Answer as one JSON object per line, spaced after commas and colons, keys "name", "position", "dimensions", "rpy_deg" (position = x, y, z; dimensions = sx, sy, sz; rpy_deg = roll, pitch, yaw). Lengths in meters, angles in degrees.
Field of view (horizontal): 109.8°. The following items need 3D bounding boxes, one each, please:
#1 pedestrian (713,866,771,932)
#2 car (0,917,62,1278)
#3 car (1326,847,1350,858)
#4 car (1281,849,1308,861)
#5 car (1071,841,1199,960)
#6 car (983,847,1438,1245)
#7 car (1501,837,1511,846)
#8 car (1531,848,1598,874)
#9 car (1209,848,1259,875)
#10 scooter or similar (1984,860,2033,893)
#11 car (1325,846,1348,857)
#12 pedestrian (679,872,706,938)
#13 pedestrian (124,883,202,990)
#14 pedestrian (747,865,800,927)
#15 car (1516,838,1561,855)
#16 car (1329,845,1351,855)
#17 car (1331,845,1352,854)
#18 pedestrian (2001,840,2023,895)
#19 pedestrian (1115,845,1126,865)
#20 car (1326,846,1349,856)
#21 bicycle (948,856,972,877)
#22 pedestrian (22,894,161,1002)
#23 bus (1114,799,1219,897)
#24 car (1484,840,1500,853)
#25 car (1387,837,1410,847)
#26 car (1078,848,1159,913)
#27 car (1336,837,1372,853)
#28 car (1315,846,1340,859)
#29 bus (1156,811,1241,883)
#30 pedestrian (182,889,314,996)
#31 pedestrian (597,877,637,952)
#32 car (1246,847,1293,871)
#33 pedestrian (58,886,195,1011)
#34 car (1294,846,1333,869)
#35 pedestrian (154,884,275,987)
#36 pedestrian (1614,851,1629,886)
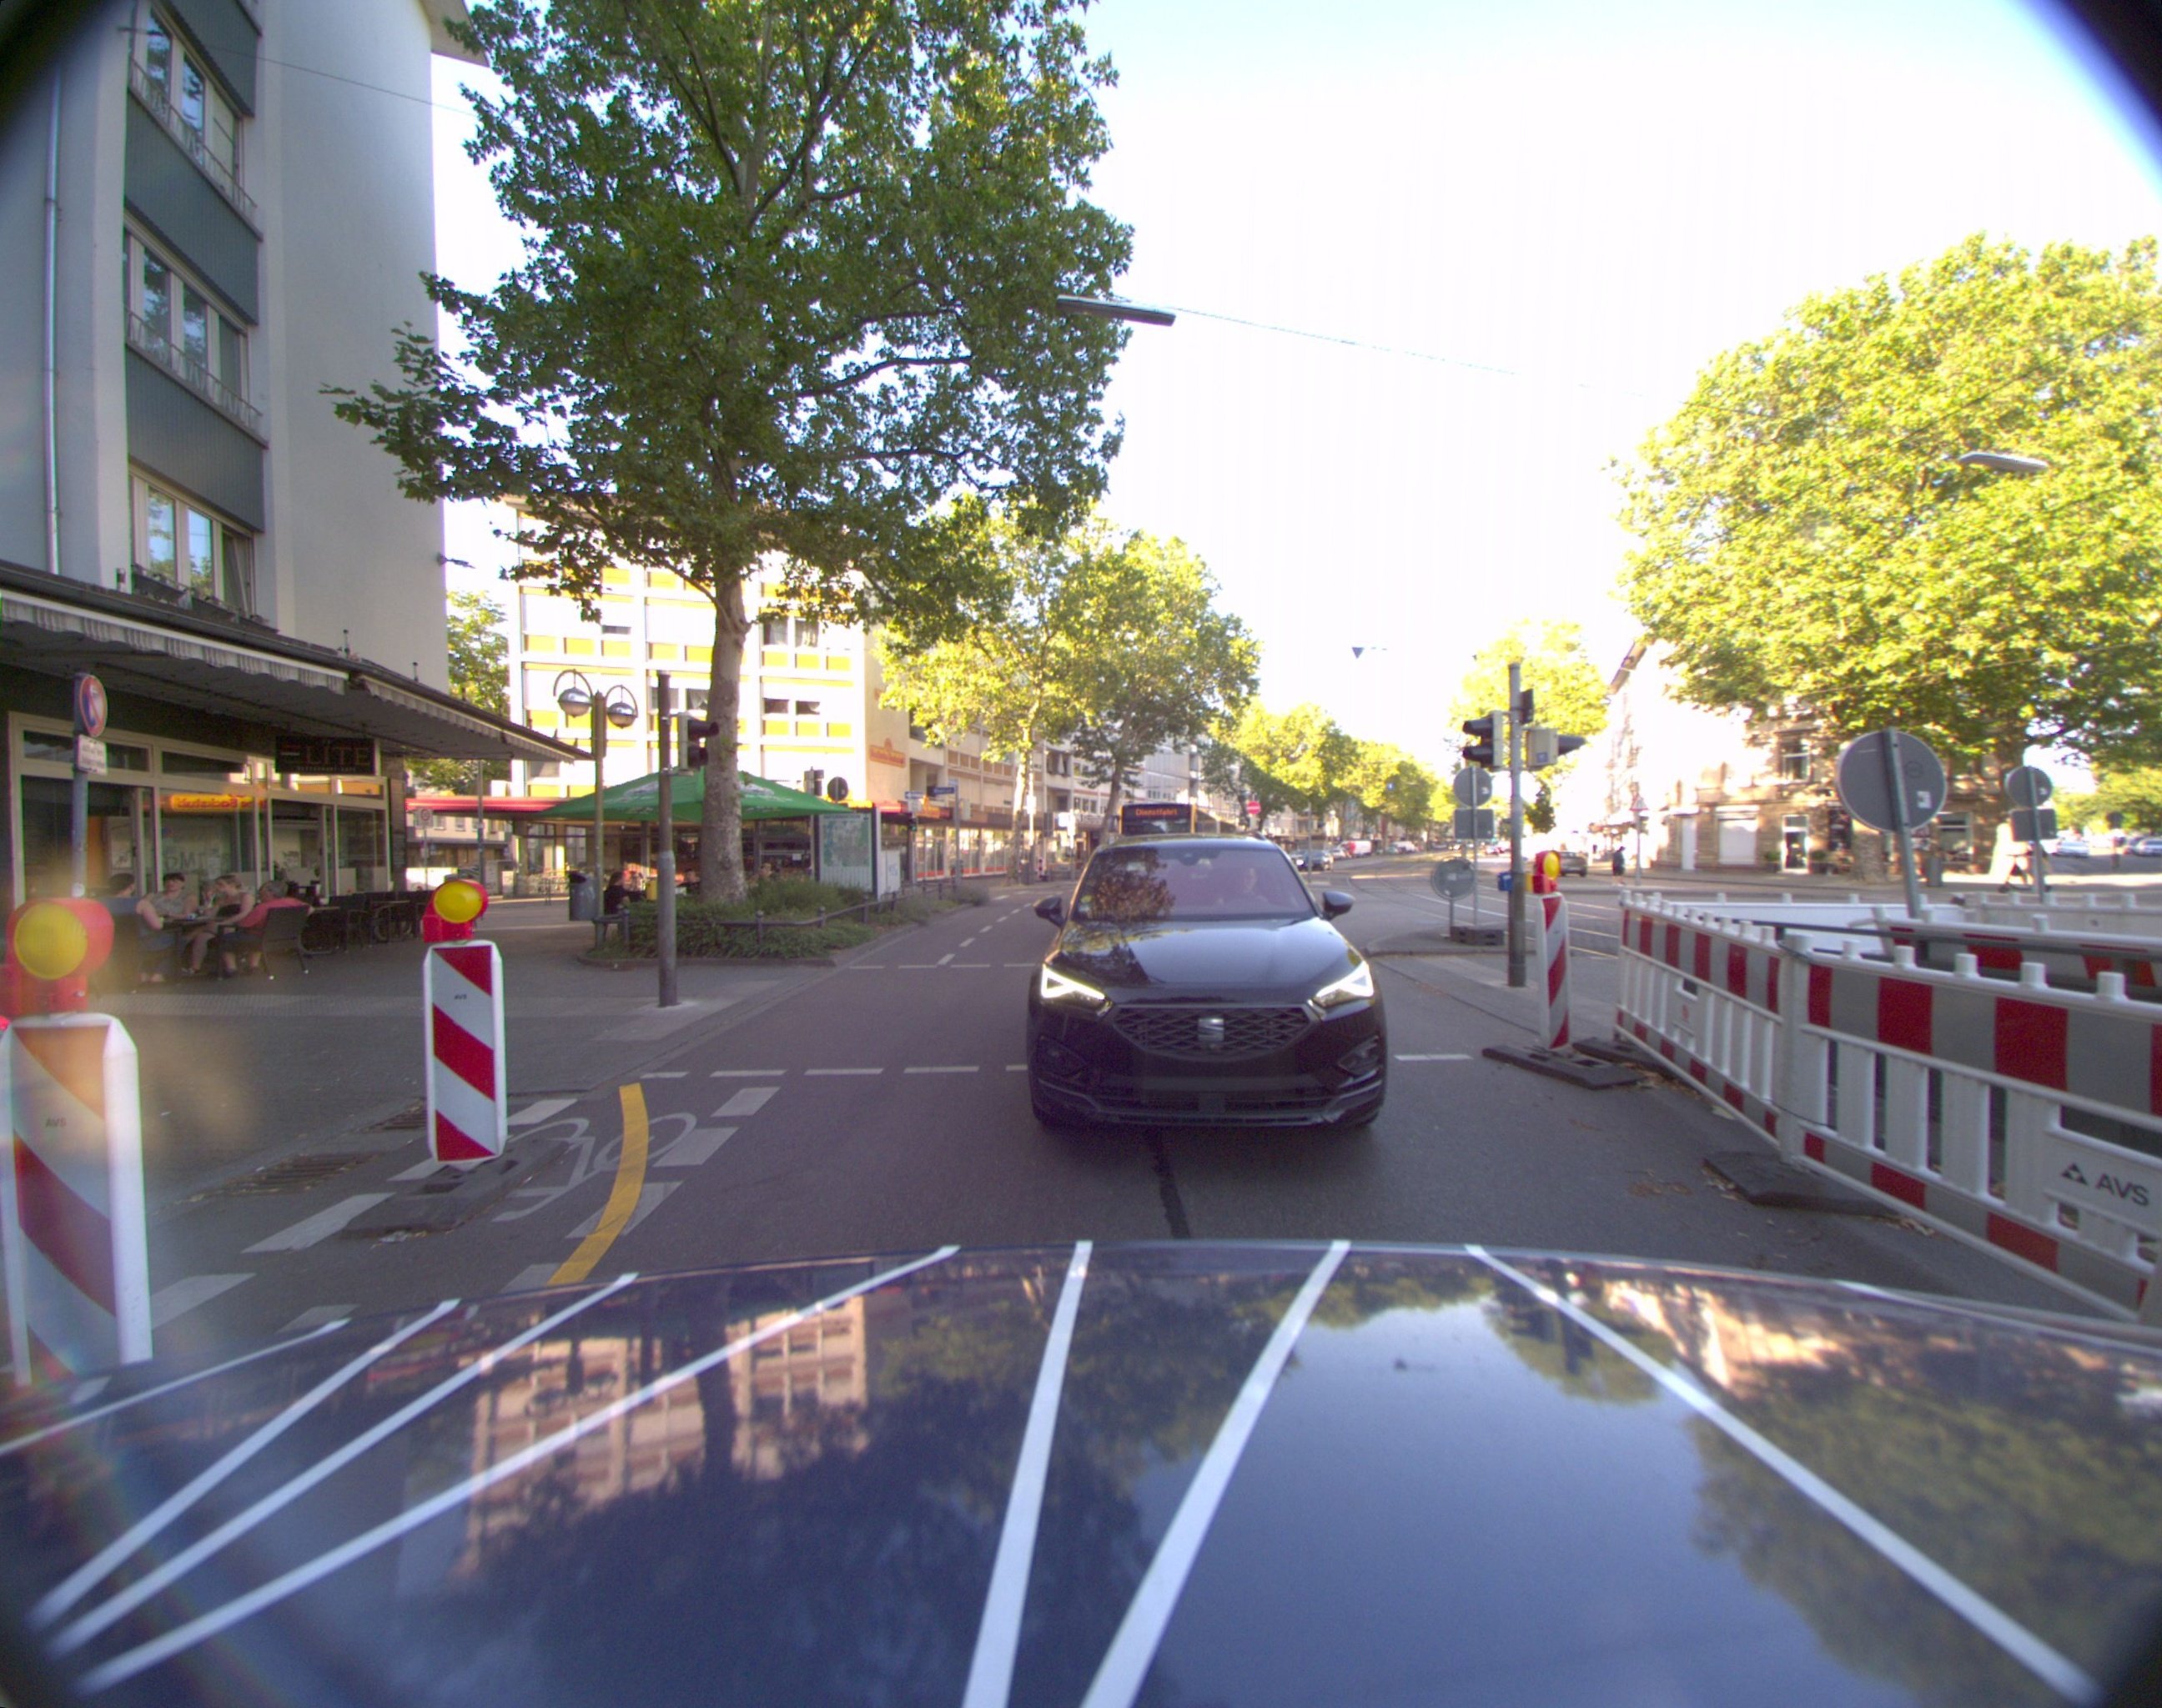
{"name": "pedestrian", "position": [-6.810, 0.886, 15.283], "dimensions": [0.718, 1.278, 0.769], "rpy_deg": [-1, 1, 14]}
{"name": "car", "position": [-5.150, 0.994, 1.448], "dimensions": [1.623, 1.457, 3.604], "rpy_deg": [2, 0, -2]}
{"name": "car", "position": [32.239, -0.171, 95.509], "dimensions": [2.627, 1.274, 1.201], "rpy_deg": [-1, 2, 3]}
{"name": "car", "position": [23.923, 0.125, 85.045], "dimensions": [2.629, 1.209, 1.200], "rpy_deg": [-1, 2, -6]}
{"name": "car", "position": [0.969, 0.642, 12.808], "dimensions": [1.743, 1.630, 4.300], "rpy_deg": [-2, 0, 6]}
{"name": "car", "position": [0.683, 0.804, 5.333], "dimensions": [1.848, 1.648, 4.300], "rpy_deg": [-2, 0, 4]}
{"name": "car", "position": [91.847, -2.605, 164.171], "dimensions": [1.903, 1.893, 4.007], "rpy_deg": [0, 1, 29]}
{"name": "car", "position": [26.791, 0.356, 42.246], "dimensions": [1.882, 1.401, 4.004], "rpy_deg": [0, 1, 13]}
{"name": "car", "position": [9.307, 0.419, 46.057], "dimensions": [1.908, 1.467, 4.425], "rpy_deg": [0, 2, 26]}
{"name": "scooter or similar", "position": [29.727, 0.720, 24.366], "dimensions": [0.309, 1.033, 0.979], "rpy_deg": [-2, 1, -40]}
{"name": "car", "position": [32.906, -0.333, 97.859], "dimensions": [2.627, 1.274, 1.201], "rpy_deg": [-1, 2, 3]}
{"name": "pedestrian", "position": [-7.412, 0.958, 14.506], "dimensions": [0.433, 1.212, 0.467], "rpy_deg": [0, 1, -29]}
{"name": "pedestrian", "position": [-11.244, 0.985, 9.314], "dimensions": [0.519, 1.236, 0.553], "rpy_deg": [0, 0, 34]}
{"name": "pedestrian", "position": [-6.542, 0.883, 16.207], "dimensions": [0.718, 1.278, 0.769], "rpy_deg": [-1, 1, 13]}
{"name": "car", "position": [52.210, -0.853, 86.719], "dimensions": [3.999, 1.904, 1.998], "rpy_deg": [-1, 1, -7]}
{"name": "car", "position": [35.463, -0.569, 104.245], "dimensions": [2.627, 1.380, 1.201], "rpy_deg": [-1, 2, 3]}
{"name": "car", "position": [36.714, -0.632, 107.141], "dimensions": [2.627, 1.338, 1.201], "rpy_deg": [-1, 2, 3]}
{"name": "pedestrian", "position": [29.911, 0.422, 24.403], "dimensions": [0.355, 1.757, 0.418], "rpy_deg": [-2, 2, -41]}
{"name": "pedestrian", "position": [3.207, 0.105, 62.194], "dimensions": [0.658, 1.632, 0.660], "rpy_deg": [0, 1, 26]}
{"name": "car", "position": [34.056, -0.421, 100.960], "dimensions": [2.627, 1.274, 1.201], "rpy_deg": [-1, 2, 3]}
{"name": "bicycle", "position": [-6.670, 0.688, 42.055], "dimensions": [0.528, 1.136, 1.976], "rpy_deg": [0, 1, 15]}
{"name": "pedestrian", "position": [-11.087, 1.025, 8.546], "dimensions": [0.718, 1.123, 0.649], "rpy_deg": [1, 0, -24]}
{"name": "bus", "position": [3.526, -0.231, 28.637], "dimensions": [2.750, 3.085, 9.506], "rpy_deg": [0, 1, 14]}
{"name": "car", "position": [61.148, -1.115, 113.002], "dimensions": [1.994, 1.856, 4.007], "rpy_deg": [0, 1, 31]}
{"name": "car", "position": [64.320, -2.512, 153.889], "dimensions": [4.000, 2.002, 1.879], "rpy_deg": [-1, 1, -8]}
{"name": "car", "position": [1.101, 0.622, 20.172], "dimensions": [1.743, 1.492, 4.301], "rpy_deg": [-2, 0, 7]}
{"name": "car", "position": [40.636, -1.340, 113.138], "dimensions": [4.868, 2.362, 1.878], "rpy_deg": [-1, 2, -10]}
{"name": "car", "position": [29.791, -0.183, 91.875], "dimensions": [2.627, 1.464, 1.201], "rpy_deg": [-1, 2, 3]}
{"name": "bus", "position": [6.063, -0.344, 37.751], "dimensions": [2.749, 3.085, 9.508], "rpy_deg": [0, 1, 17]}
{"name": "pedestrian", "position": [-9.848, 1.018, 9.022], "dimensions": [0.847, 1.191, 0.649], "rpy_deg": [1, 0, -22]}
{"name": "pedestrian", "position": [-7.835, 1.011, 12.827], "dimensions": [0.469, 1.212, 0.431], "rpy_deg": [-2, 1, -44]}
{"name": "car", "position": [13.712, 0.349, 55.018], "dimensions": [1.952, 1.541, 4.765], "rpy_deg": [0, 2, 31]}
{"name": "pedestrian", "position": [-10.221, 0.983, 8.171], "dimensions": [0.651, 1.244, 0.716], "rpy_deg": [0, 0, -24]}
{"name": "car", "position": [16.366, 0.193, 53.335], "dimensions": [1.952, 1.467, 4.764], "rpy_deg": [0, 2, 26]}
{"name": "pedestrian", "position": [-10.694, 0.985, 9.402], "dimensions": [0.666, 1.211, 0.717], "rpy_deg": [0, 0, -5]}
{"name": "pedestrian", "position": [20.193, 0.537, 28.395], "dimensions": [0.365, 1.301, 0.402], "rpy_deg": [0, 1, 18]}
